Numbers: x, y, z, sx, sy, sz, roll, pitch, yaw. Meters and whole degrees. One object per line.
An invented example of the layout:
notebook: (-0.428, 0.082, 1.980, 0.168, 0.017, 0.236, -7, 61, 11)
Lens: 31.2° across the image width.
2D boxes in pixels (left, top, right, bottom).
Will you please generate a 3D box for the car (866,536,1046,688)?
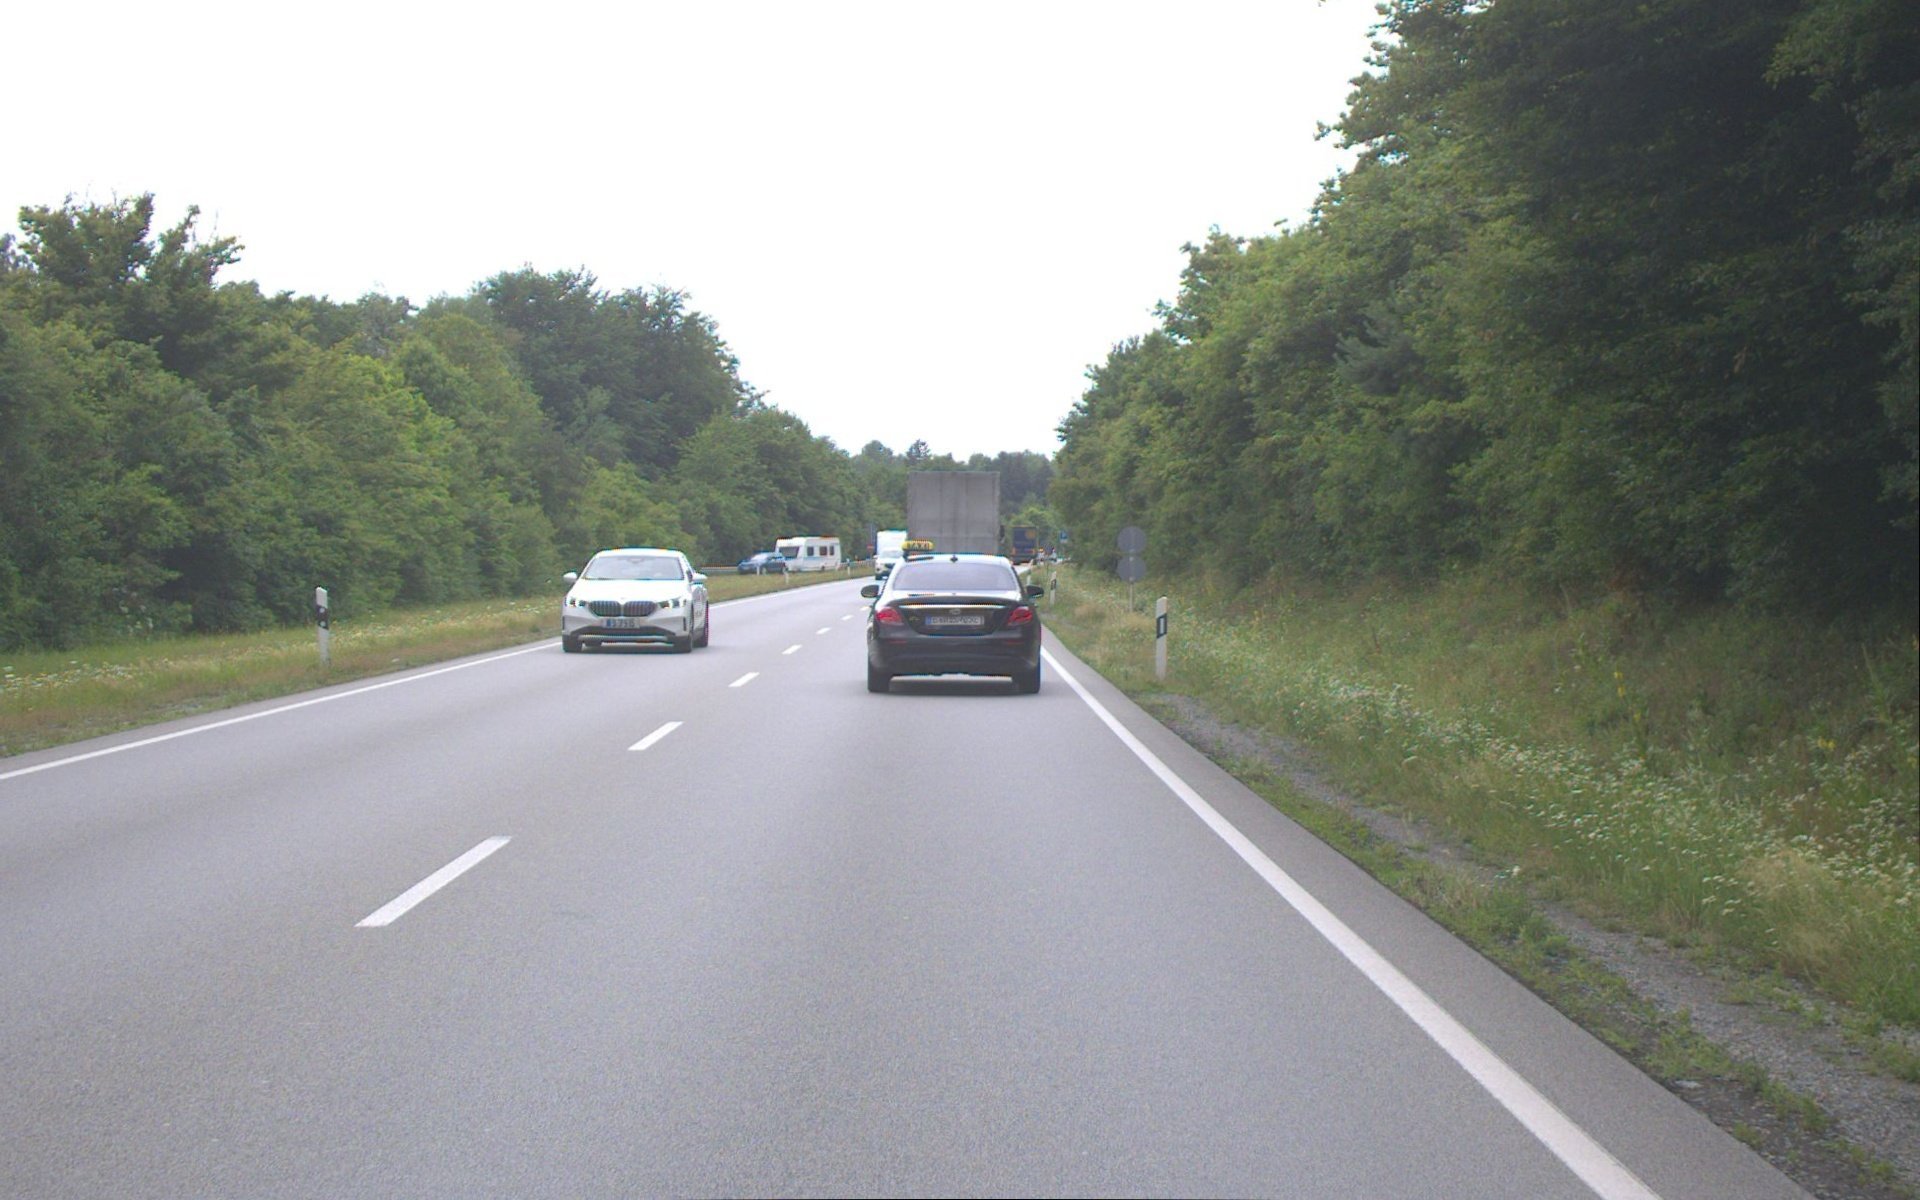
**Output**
car: (-0.099, 0.096, 37.294, 1.791, 1.546, 4.000, 1, 1, -2)

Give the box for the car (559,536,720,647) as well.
car: (-4.793, -0.154, 52.117, 1.964, 1.568, 5.452, 1, 1, 0)

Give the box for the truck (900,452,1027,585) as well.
truck: (0.203, -2.308, 99.873, 3.281, 3.599, 11.399, 1, 1, 2)

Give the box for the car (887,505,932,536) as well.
car: (-2.674, -4.243, 183.342, 2.279, 1.598, 4.692, 1, 1, 0)
